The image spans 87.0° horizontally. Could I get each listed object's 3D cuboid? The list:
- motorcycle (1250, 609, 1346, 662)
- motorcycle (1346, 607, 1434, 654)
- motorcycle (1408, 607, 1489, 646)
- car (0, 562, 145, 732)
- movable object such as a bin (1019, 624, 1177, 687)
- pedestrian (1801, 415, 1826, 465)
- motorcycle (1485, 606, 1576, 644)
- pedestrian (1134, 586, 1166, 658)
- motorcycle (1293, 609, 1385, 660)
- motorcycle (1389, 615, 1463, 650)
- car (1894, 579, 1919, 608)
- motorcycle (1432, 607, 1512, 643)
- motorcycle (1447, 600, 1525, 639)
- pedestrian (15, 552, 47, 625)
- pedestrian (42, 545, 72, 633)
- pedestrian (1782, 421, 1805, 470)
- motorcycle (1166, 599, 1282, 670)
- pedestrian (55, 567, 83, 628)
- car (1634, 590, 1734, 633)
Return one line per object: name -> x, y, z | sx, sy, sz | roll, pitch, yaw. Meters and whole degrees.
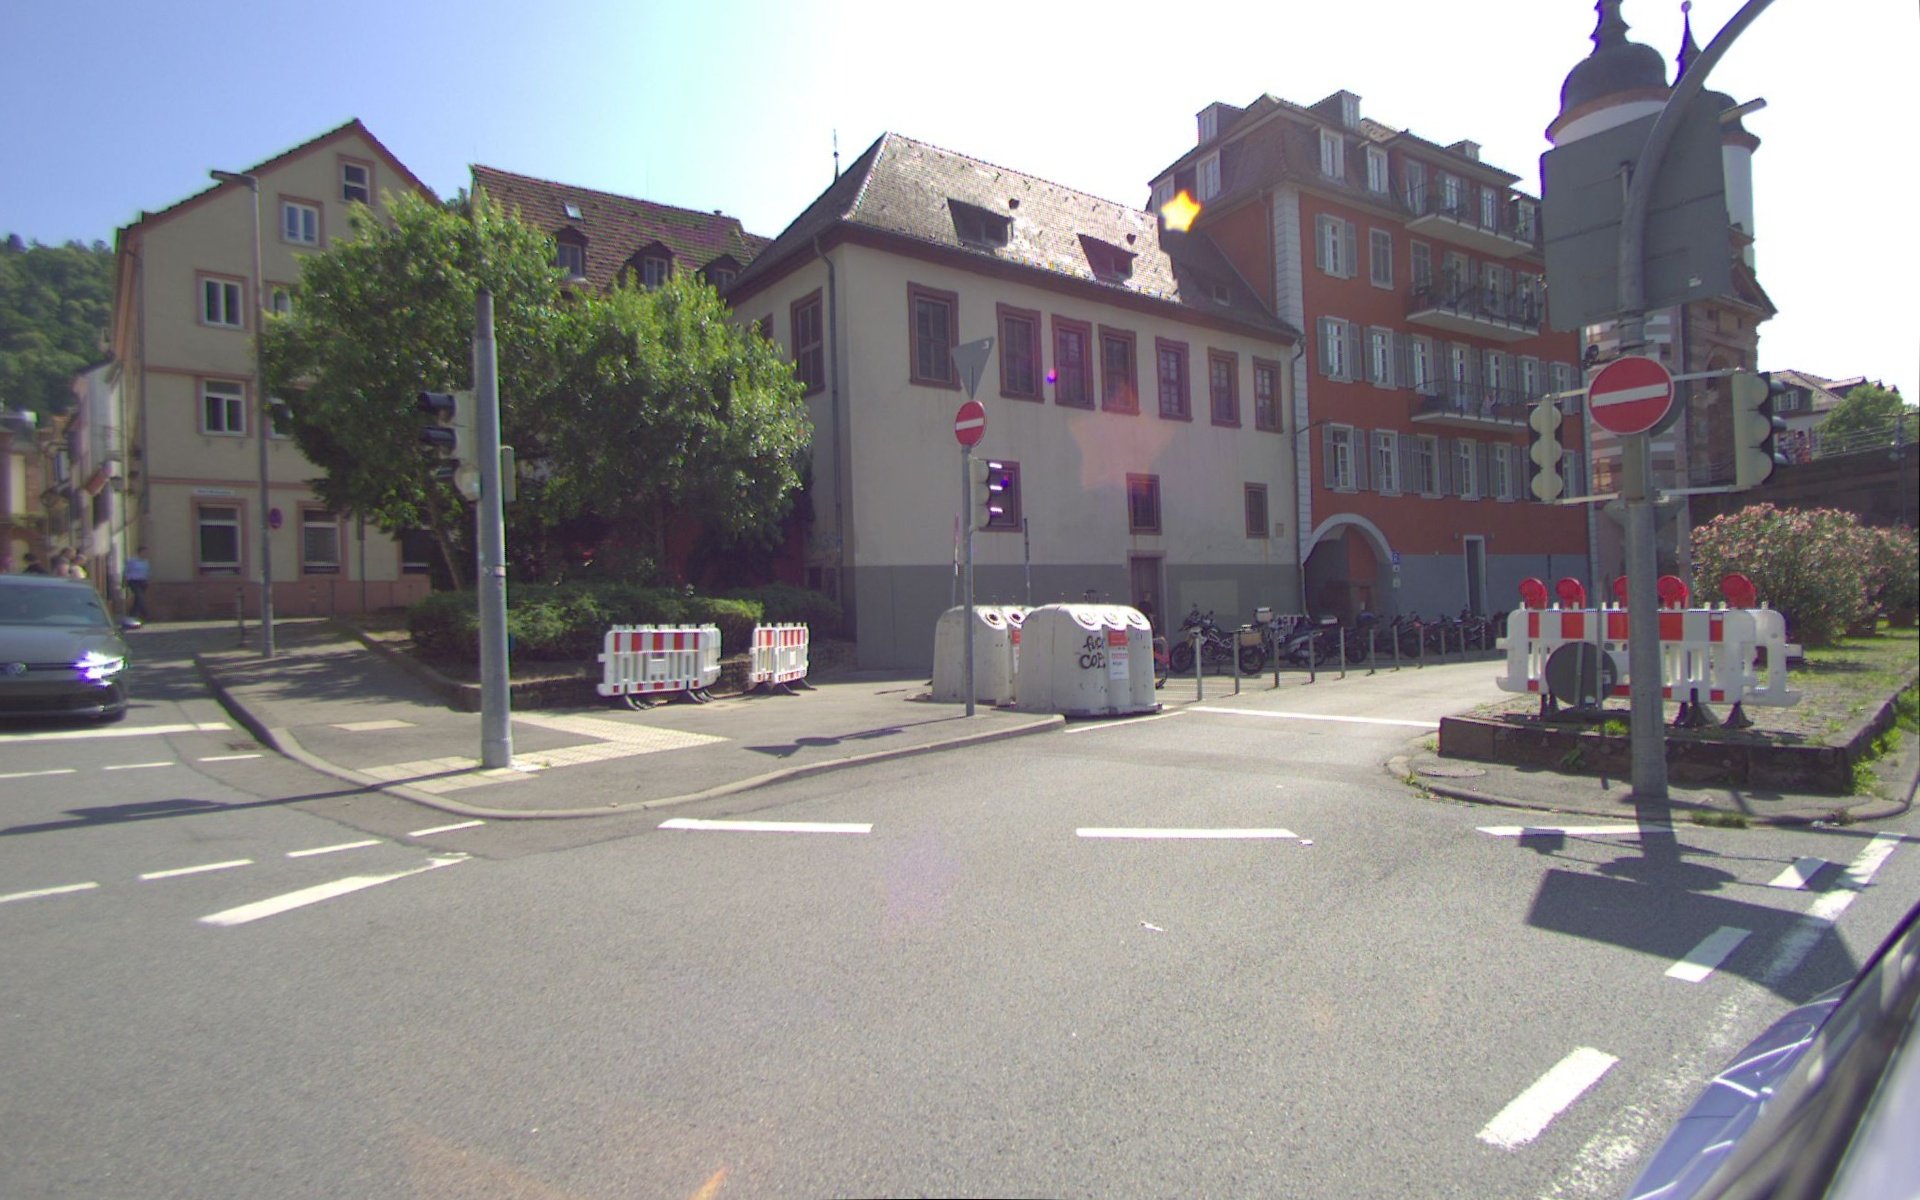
motorcycle -> 8.370, 0.881, 25.142 | 2.207, 1.268, 0.625 | -1, 2, 19
motorcycle -> 12.031, 0.855, 28.391 | 2.154, 1.283, 0.778 | -1, 0, 19
motorcycle -> 15.177, 0.824, 31.490 | 2.162, 1.162, 0.626 | -1, 0, 10
car -> -10.172, 0.389, 10.954 | 1.828, 1.504, 3.994 | 4, 0, -42
movable object such as a bin -> 2.675, 1.046, 19.476 | 2.911, 1.124, 1.253 | -1, 0, 13
pedestrian -> 36.566, -6.857, 43.370 | 0.694, 2.038, 0.641 | -2, 1, -34
motorcycle -> 19.296, 0.851, 34.305 | 2.505, 1.249, 0.839 | -1, -1, 13
pedestrian -> 4.993, 0.563, 26.567 | 0.608, 1.845, 0.495 | -3, 1, -40
motorcycle -> 9.770, 0.891, 26.152 | 2.169, 1.283, 0.625 | -1, 0, 19
motorcycle -> 13.967, 0.974, 30.351 | 1.901, 0.999, 0.546 | -1, 0, 10
car -> 50.865, -0.356, 52.843 | 3.802, 1.429, 1.727 | -2, 2, -24
motorcycle -> 16.346, 0.808, 32.334 | 2.162, 1.090, 0.626 | -1, 0, 10
motorcycle -> 17.368, 0.632, 33.467 | 2.120, 1.249, 0.839 | -1, -1, 13
pedestrian -> -20.749, -0.266, 22.602 | 0.499, 1.595, 0.417 | 0, 3, -39
pedestrian -> -18.800, -0.234, 21.069 | 0.427, 1.809, 0.486 | 0, 3, -39
pedestrian -> 36.478, -6.767, 44.294 | 0.694, 2.038, 0.580 | -2, 1, -34
motorcycle -> 5.975, 0.776, 22.953 | 2.462, 1.552, 1.048 | -1, 0, 16
pedestrian -> -19.253, -0.055, 21.862 | 0.435, 1.292, 0.333 | 0, 2, -39
car -> 28.740, 0.446, 40.162 | 3.734, 1.562, 1.679 | -2, -1, -28
